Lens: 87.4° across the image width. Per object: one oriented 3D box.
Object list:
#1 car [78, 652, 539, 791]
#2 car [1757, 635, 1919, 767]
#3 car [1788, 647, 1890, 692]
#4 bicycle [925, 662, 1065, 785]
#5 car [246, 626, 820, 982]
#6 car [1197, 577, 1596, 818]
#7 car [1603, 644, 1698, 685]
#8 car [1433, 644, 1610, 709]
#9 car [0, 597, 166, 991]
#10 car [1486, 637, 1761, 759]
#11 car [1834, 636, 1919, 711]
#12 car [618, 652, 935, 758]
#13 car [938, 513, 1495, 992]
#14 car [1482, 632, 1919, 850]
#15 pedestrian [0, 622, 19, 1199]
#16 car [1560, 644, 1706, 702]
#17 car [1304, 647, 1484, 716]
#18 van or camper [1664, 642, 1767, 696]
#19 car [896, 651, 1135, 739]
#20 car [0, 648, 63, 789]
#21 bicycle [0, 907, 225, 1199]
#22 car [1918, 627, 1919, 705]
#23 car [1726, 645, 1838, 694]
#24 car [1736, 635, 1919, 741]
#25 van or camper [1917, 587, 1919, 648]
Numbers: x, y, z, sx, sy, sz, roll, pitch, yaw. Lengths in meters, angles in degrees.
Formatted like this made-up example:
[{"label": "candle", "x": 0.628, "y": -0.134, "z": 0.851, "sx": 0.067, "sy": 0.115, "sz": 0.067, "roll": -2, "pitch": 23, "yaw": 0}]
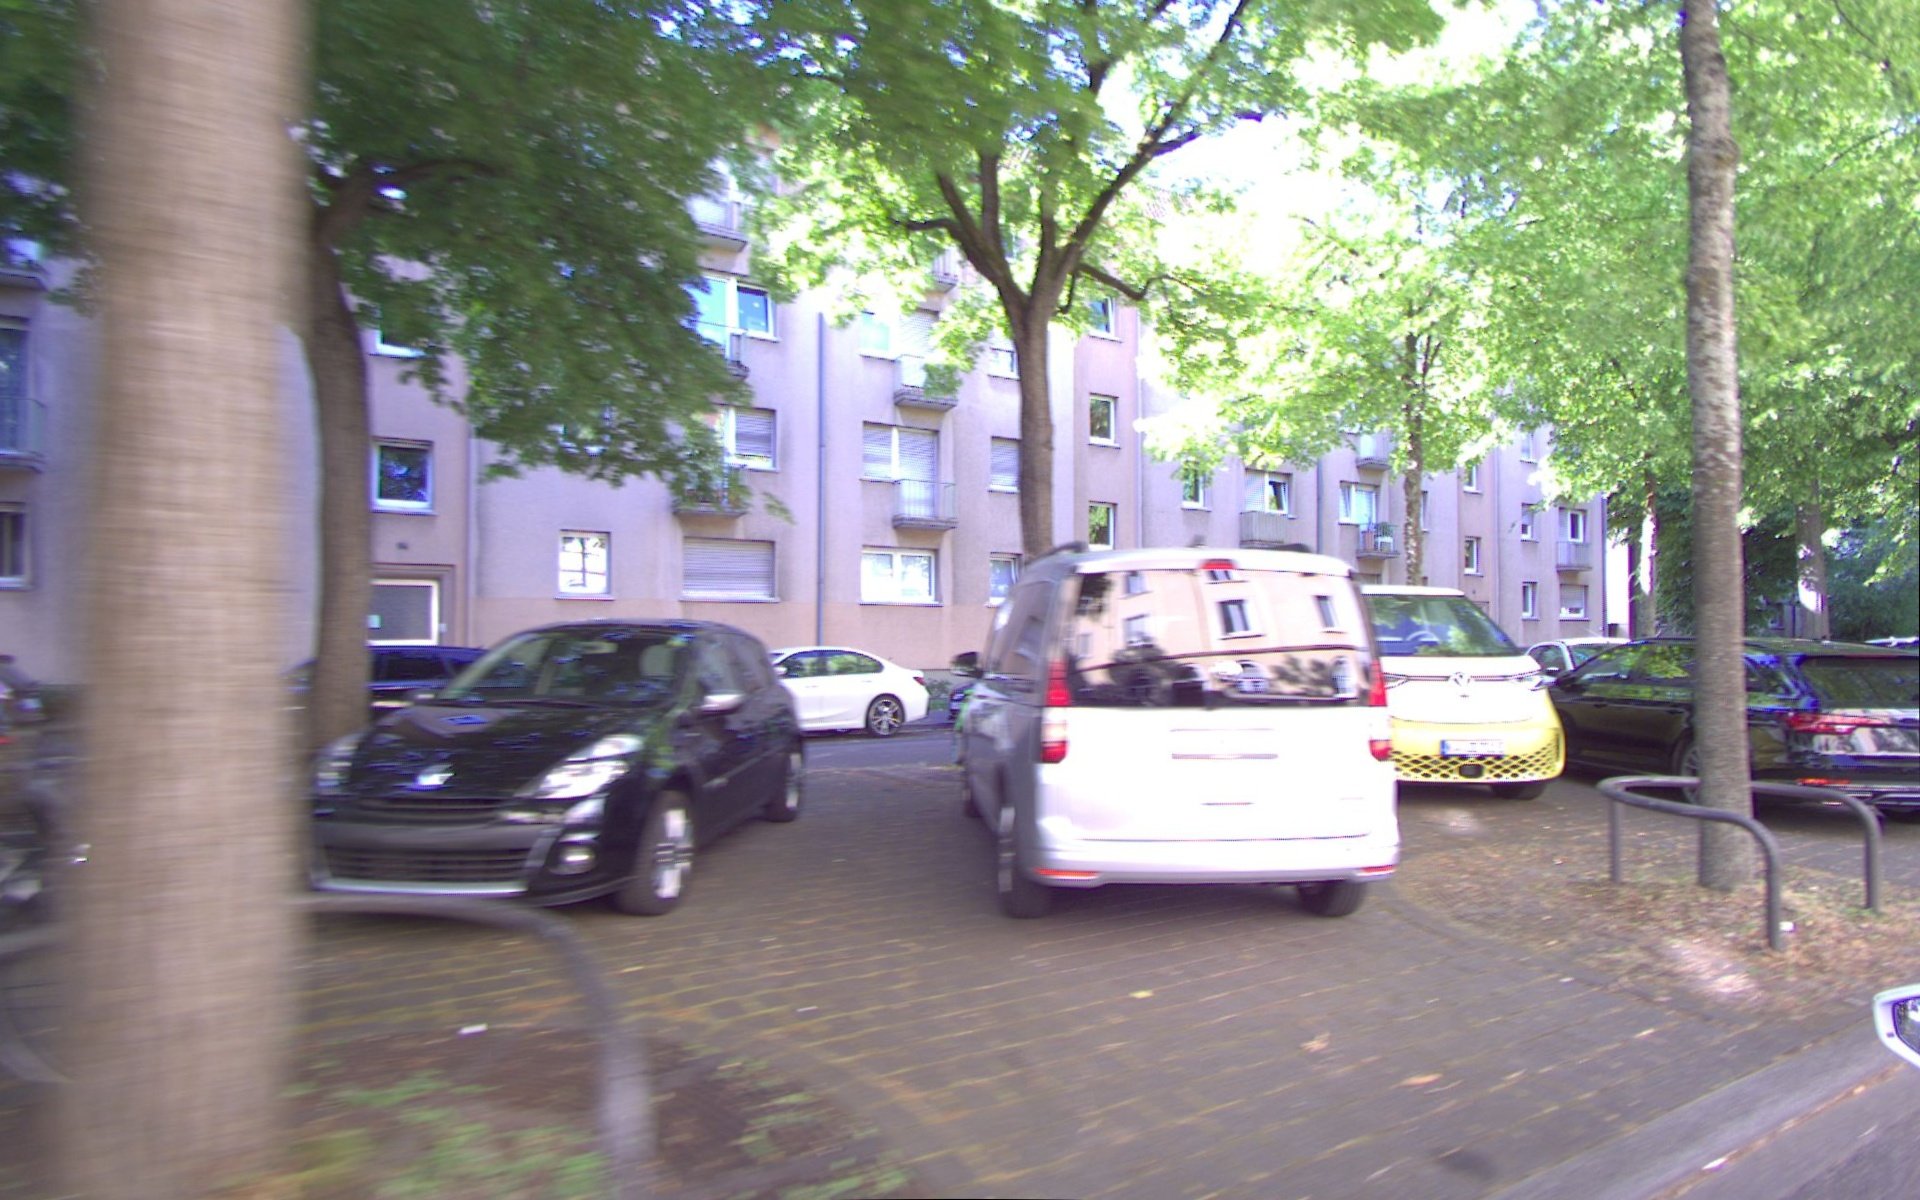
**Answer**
[{"label": "car", "x": -7.732, "y": 1.370, "z": 12.412, "sx": 4.483, "sy": 1.424, "sz": 1.610, "roll": 1, "pitch": -3, "yaw": -31}, {"label": "car", "x": 11.695, "y": 1.162, "z": 11.553, "sx": 1.682, "sy": 1.481, "sz": 4.426, "roll": 1, "pitch": -2, "yaw": 3}, {"label": "car", "x": 31.694, "y": 2.481, "z": 36.195, "sx": 3.725, "sy": 1.519, "sz": 1.656, "roll": 1, "pitch": -2, "yaw": -30}, {"label": "bicycle", "x": 0.318, "y": 1.238, "z": 10.567, "sx": 0.513, "sy": 1.151, "sz": 1.929, "roll": 1, "pitch": -3, "yaw": -31}, {"label": "car", "x": -2.023, "y": 0.887, "z": 6.010, "sx": 1.591, "sy": 1.424, "sz": 3.804, "roll": 0, "pitch": -2, "yaw": 4}, {"label": "car", "x": 3.938, "y": 0.878, "z": 10.124, "sx": 1.979, "sy": 1.856, "sz": 4.607, "roll": 0, "pitch": -3, "yaw": -1}, {"label": "car", "x": 26.376, "y": 2.439, "z": 38.343, "sx": 3.569, "sy": 1.501, "sz": 1.617, "roll": 1, "pitch": -3, "yaw": -30}, {"label": "car", "x": 14.509, "y": 1.907, "z": 25.922, "sx": 4.480, "sy": 1.527, "sz": 1.984, "roll": 1, "pitch": -3, "yaw": -30}, {"label": "car", "x": -4.596, "y": 0.703, "z": 2.605, "sx": 1.699, "sy": 1.526, "sz": 4.110, "roll": 0, "pitch": -2, "yaw": 2}, {"label": "car", "x": 9.077, "y": 1.270, "z": 14.140, "sx": 1.781, "sy": 1.474, "sz": 3.636, "roll": 0, "pitch": -2, "yaw": 7}, {"label": "car", "x": 20.571, "y": 1.517, "z": 20.950, "sx": 1.722, "sy": 1.527, "sz": 3.546, "roll": 0, "pitch": -3, "yaw": 4}, {"label": "car", "x": -2.773, "y": 1.535, "z": 15.637, "sx": 4.566, "sy": 1.411, "sz": 1.719, "roll": 2, "pitch": -4, "yaw": -32}, {"label": "car", "x": 1.013, "y": 0.680, "z": 6.316, "sx": 2.041, "sy": 1.889, "sz": 4.521, "roll": 1, "pitch": -2, "yaw": -5}, {"label": "car", "x": 6.691, "y": 1.045, "z": 9.051, "sx": 1.752, "sy": 1.474, "sz": 4.492, "roll": 0, "pitch": -2, "yaw": 2}, {"label": "pedestrian", "x": -2.663, "y": 0.746, "z": 1.959, "sx": 0.910, "sy": 1.415, "sz": 0.753, "roll": 0, "pitch": -2, "yaw": 2}, {"label": "car", "x": 19.177, "y": 2.037, "z": 28.577, "sx": 4.258, "sy": 1.527, "sz": 1.755, "roll": 1, "pitch": -3, "yaw": -30}, {"label": "car", "x": 10.069, "y": 1.829, "z": 23.271, "sx": 3.953, "sy": 1.436, "sz": 1.883, "roll": 1, "pitch": -2, "yaw": -30}, {"label": "van or camper", "x": 23.265, "y": 2.095, "z": 30.932, "sx": 2.666, "sy": 1.575, "sz": 1.589, "roll": 1, "pitch": -3, "yaw": -30}, {"label": "car", "x": 1.020, "y": 1.638, "z": 18.111, "sx": 3.953, "sy": 1.405, "sz": 1.883, "roll": 1, "pitch": -3, "yaw": -30}, {"label": "car", "x": -11.967, "y": 1.243, "z": 10.016, "sx": 4.303, "sy": 1.453, "sz": 1.752, "roll": 2, "pitch": -4, "yaw": -37}, {"label": "bicycle", "x": -2.442, "y": 1.179, "z": 2.224, "sx": 0.401, "sy": 0.566, "sz": 1.615, "roll": 0, "pitch": -2, "yaw": 1}, {"label": "car", "x": 17.196, "y": 1.223, "z": 15.020, "sx": 1.725, "sy": 1.701, "sz": 4.148, "roll": 0, "pitch": -2, "yaw": -1}, {"label": "car", "x": 27.299, "y": 2.259, "z": 33.350, "sx": 3.725, "sy": 1.519, "sz": 1.656, "roll": 1, "pitch": -2, "yaw": -30}, {"label": "car", "x": 14.494, "y": 1.310, "z": 15.651, "sx": 1.787, "sy": 1.421, "sz": 4.044, "roll": 1, "pitch": -1, "yaw": 3}, {"label": "van or camper", "x": 26.655, "y": 0.960, "z": 22.983, "sx": 2.269, "sy": 2.968, "sz": 7.249, "roll": 0, "pitch": -3, "yaw": -3}]
